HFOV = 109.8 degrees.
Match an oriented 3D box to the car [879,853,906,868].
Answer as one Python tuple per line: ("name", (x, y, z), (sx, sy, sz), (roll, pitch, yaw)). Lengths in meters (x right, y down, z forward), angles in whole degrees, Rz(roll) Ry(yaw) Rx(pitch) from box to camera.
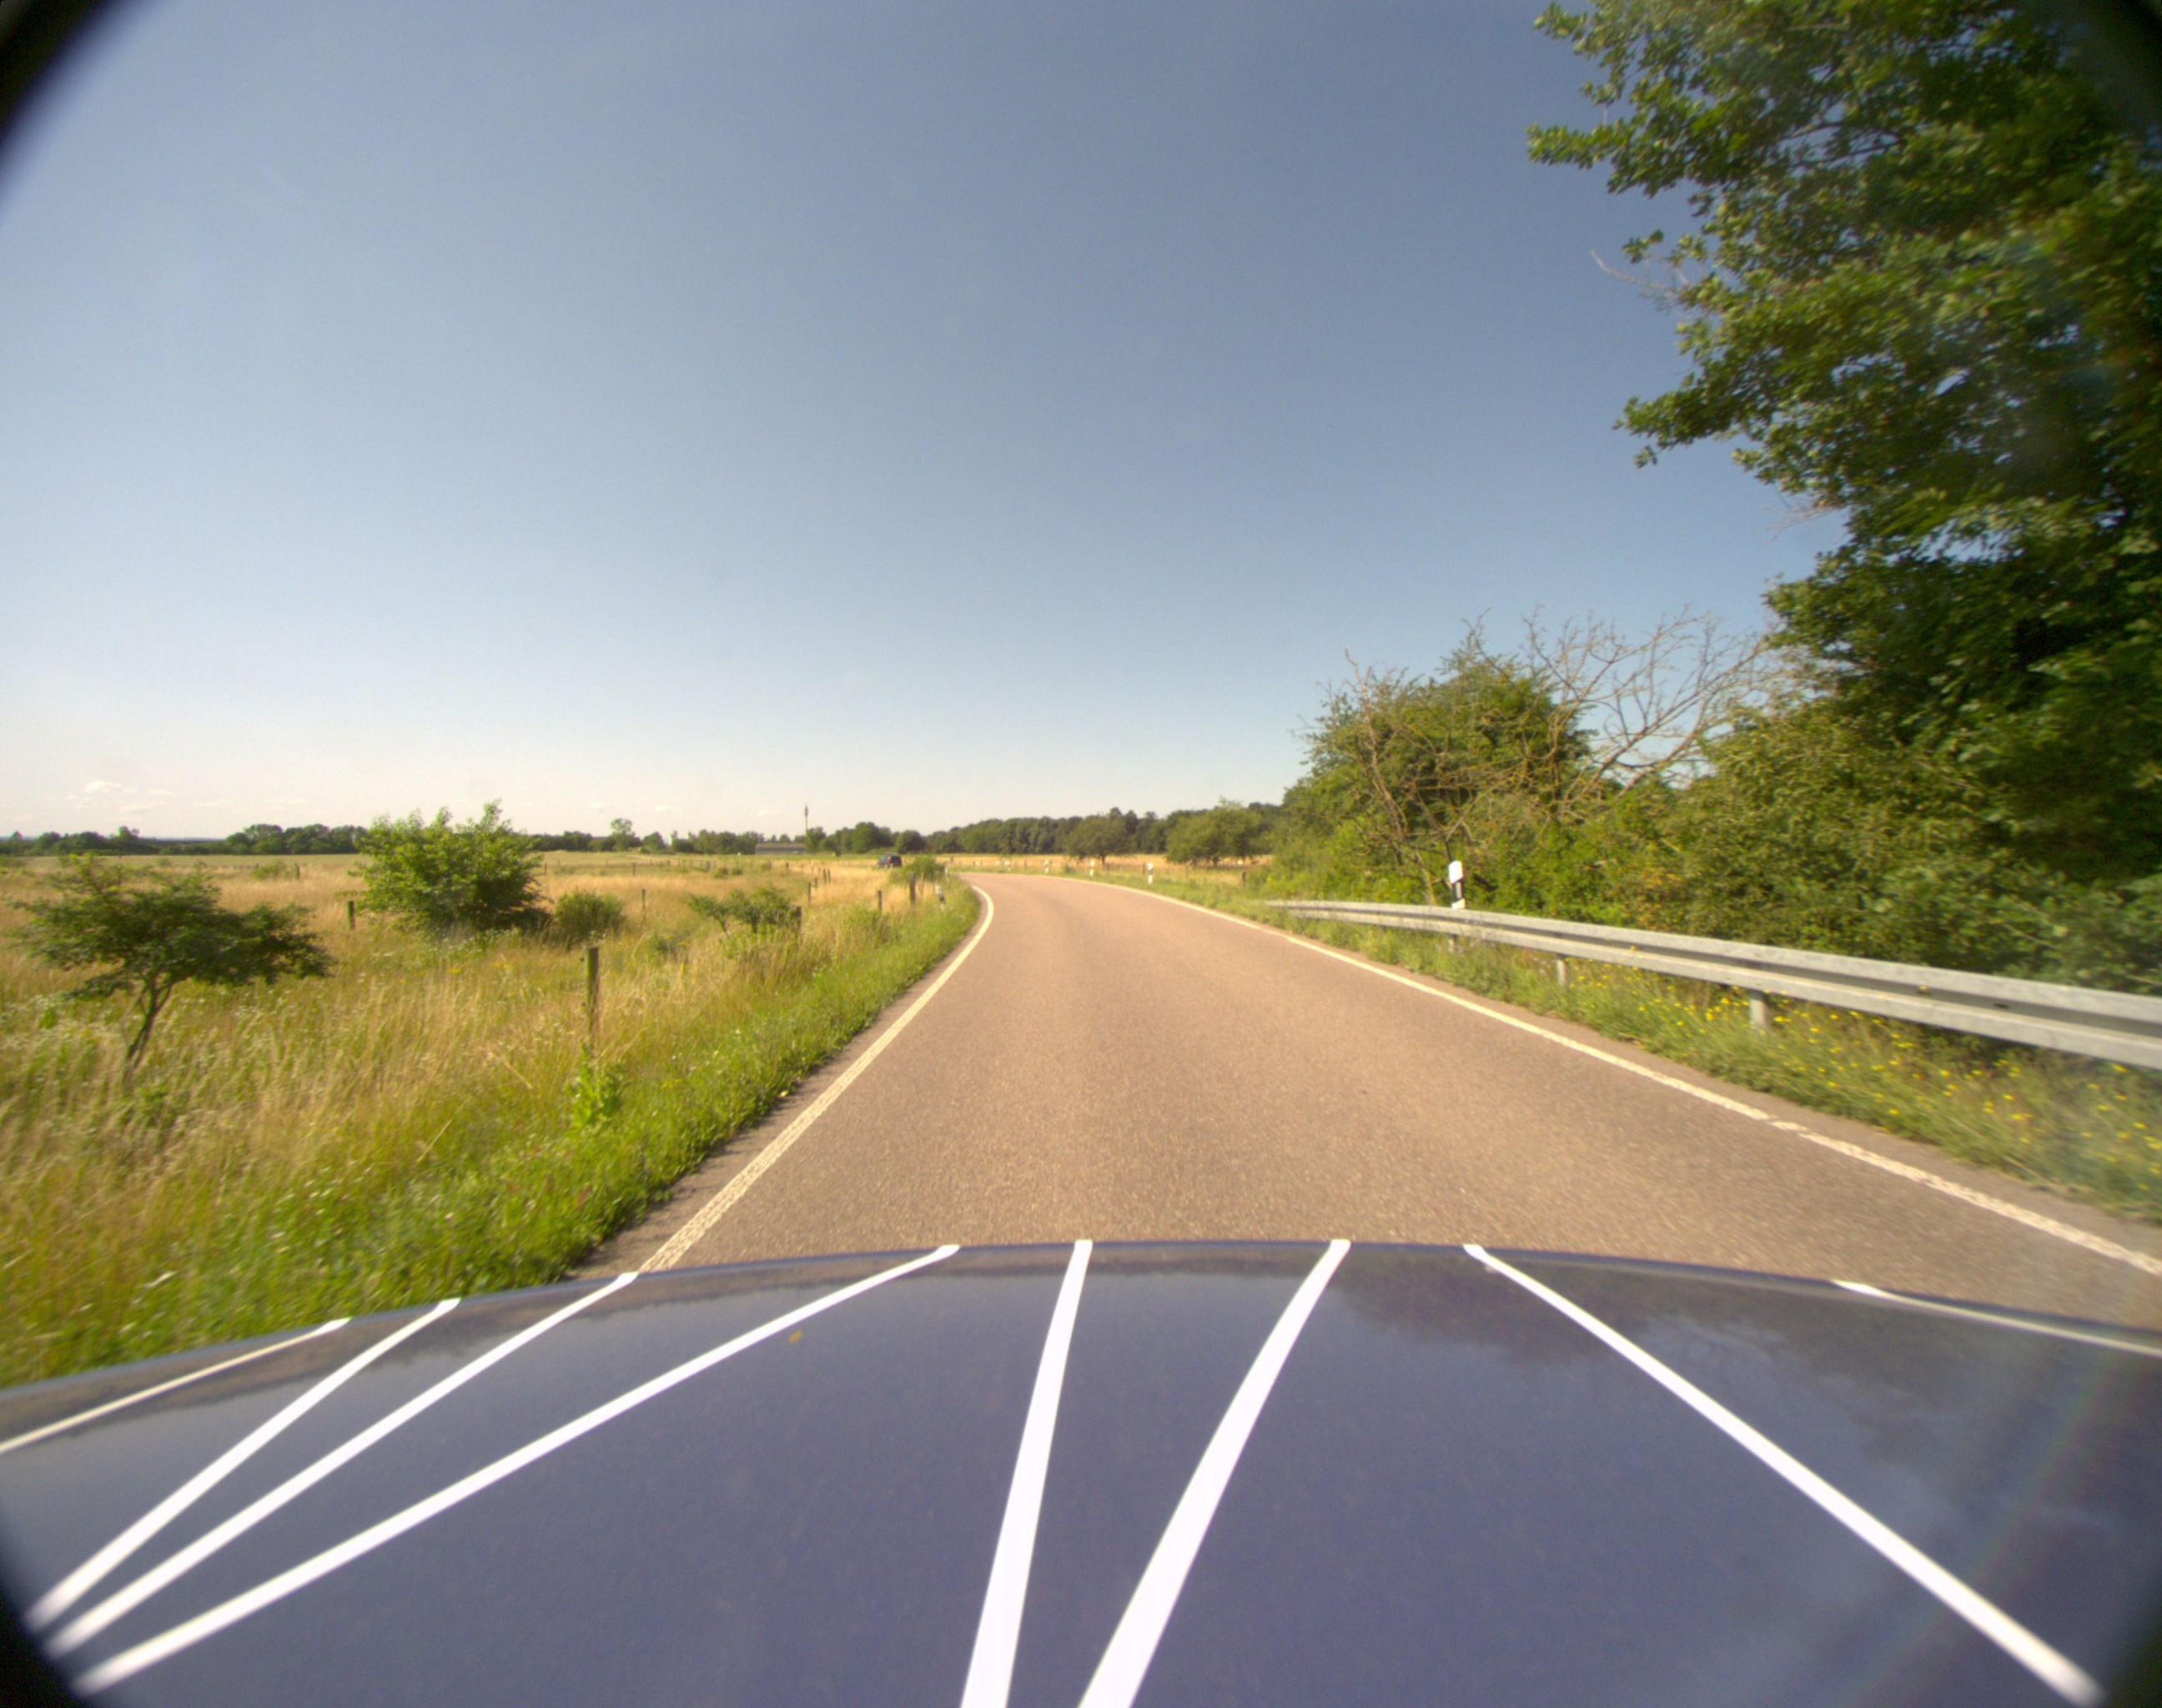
("car", (-21.205, 0.747, 85.439), (1.793, 1.622, 4.151), (1, -2, -32))
